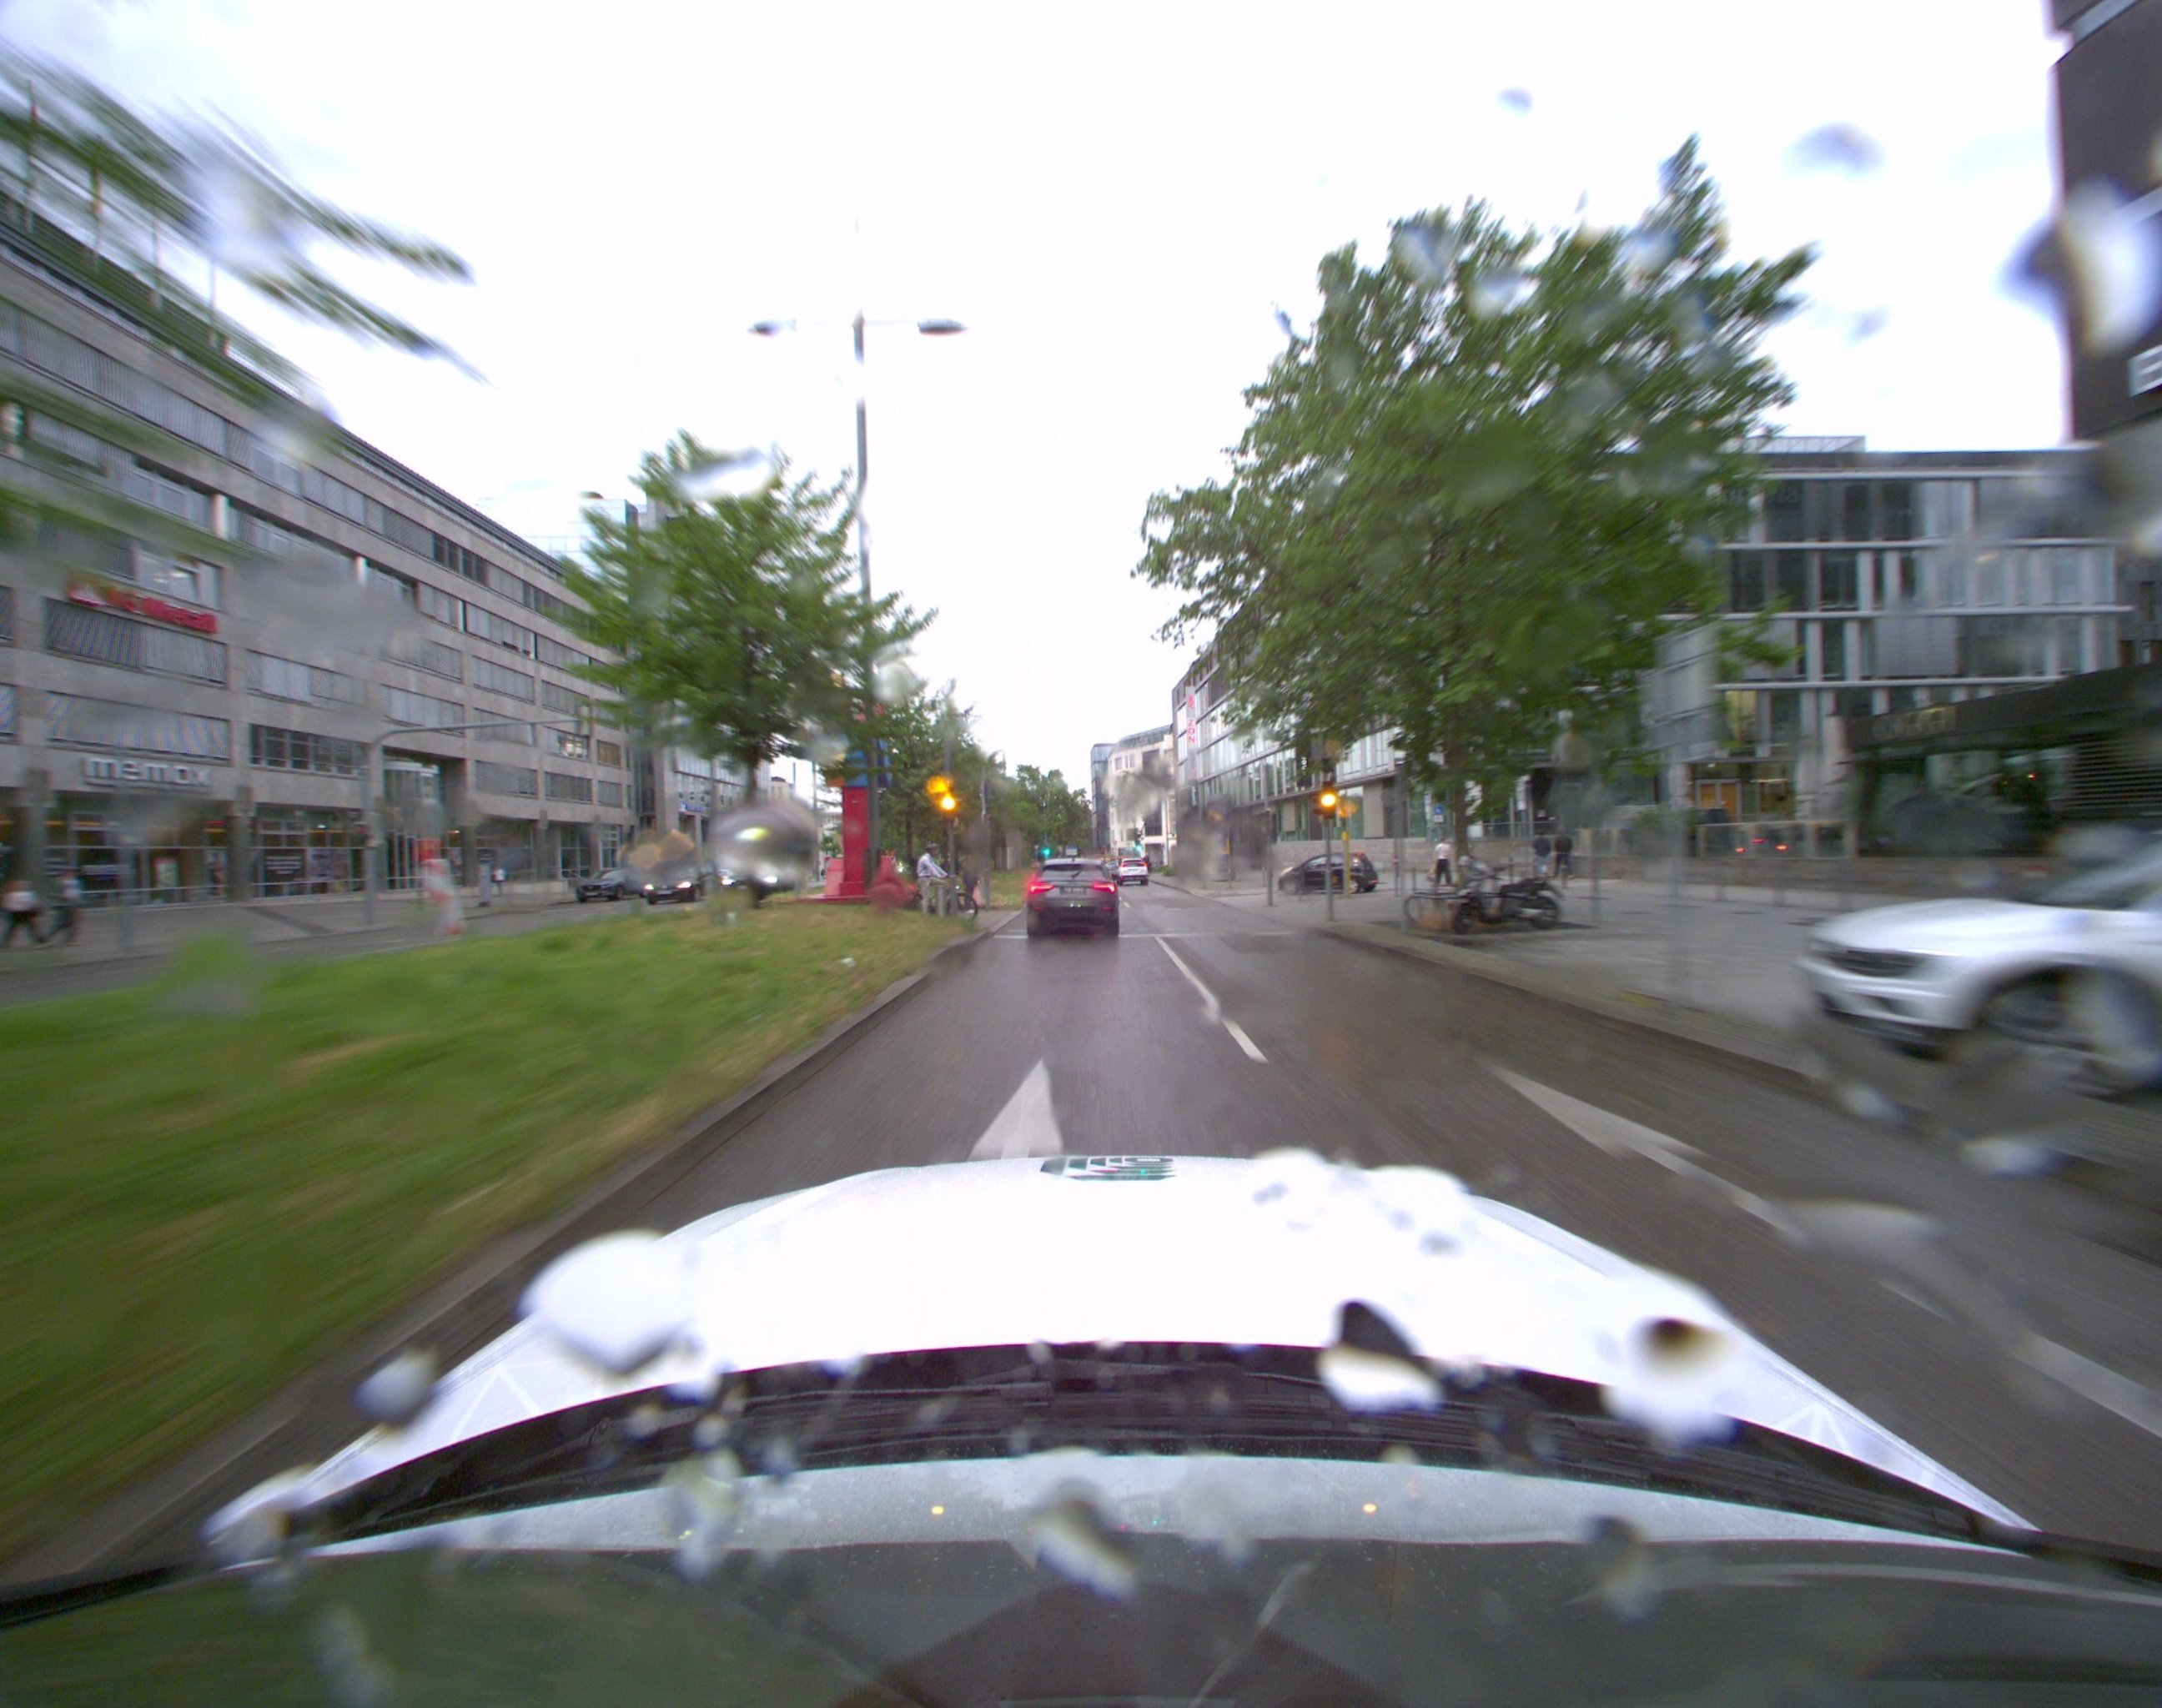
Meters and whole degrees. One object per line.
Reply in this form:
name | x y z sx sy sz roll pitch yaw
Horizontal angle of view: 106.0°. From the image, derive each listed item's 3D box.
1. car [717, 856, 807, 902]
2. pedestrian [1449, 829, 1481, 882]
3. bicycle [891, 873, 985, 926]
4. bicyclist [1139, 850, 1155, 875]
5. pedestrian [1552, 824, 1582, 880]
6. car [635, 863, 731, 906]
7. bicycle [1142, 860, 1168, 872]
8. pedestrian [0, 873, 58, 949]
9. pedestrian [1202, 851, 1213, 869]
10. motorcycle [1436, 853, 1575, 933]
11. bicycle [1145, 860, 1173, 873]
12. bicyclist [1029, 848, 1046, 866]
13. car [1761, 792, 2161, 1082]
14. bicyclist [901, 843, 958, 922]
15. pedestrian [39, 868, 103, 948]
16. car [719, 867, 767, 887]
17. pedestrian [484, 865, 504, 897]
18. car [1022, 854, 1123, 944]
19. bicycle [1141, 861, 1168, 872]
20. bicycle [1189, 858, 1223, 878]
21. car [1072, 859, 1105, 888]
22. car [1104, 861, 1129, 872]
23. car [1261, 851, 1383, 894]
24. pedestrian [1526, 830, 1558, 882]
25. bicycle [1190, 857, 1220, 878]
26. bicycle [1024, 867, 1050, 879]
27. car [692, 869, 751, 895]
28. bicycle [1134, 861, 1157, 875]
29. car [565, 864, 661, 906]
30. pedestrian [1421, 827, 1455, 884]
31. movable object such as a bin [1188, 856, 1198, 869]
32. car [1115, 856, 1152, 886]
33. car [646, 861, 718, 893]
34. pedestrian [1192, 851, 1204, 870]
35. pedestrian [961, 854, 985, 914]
car | -11.939 0.877 30.790 1.787 1.467 4.717 -3 0 -5
pedestrian | 13.947 0.065 29.604 0.796 1.868 0.900 -1 0 8
bicycle | -3.261 1.038 18.696 1.964 1.139 0.777 1 0 2
bicyclist | 5.885 0.757 72.666 1.091 2.083 0.753 -2 -2 -44
pedestrian | 16.232 -0.058 27.231 0.674 1.823 0.654 -2 0 15
car | -15.153 1.121 31.245 1.785 1.414 3.996 -3 0 -3
bicycle | 7.612 1.225 84.093 2.530 1.087 0.677 -3 -1 -3
pedestrian | -23.412 1.257 18.065 0.606 1.629 0.617 -1 0 -11
pedestrian | 12.799 0.598 82.236 0.716 1.690 1.098 -5 -1 -4
motorcycle | 7.531 0.684 14.538 2.071 1.357 0.679 -1 0 8
bicycle | 7.553 1.215 78.919 2.530 1.057 0.677 -3 -1 -3
bicyclist | -3.847 0.244 72.437 1.122 1.582 1.020 0 -1 21
car | 7.436 0.440 4.986 4.742 1.650 1.928 -1 0 31
bicyclist | -3.464 0.653 18.702 1.072 1.749 0.813 1 -2 2
pedestrian | -23.296 1.219 18.790 0.525 1.788 0.722 -1 0 2
car | -24.087 1.615 58.252 1.889 1.325 4.468 -2 -1 -5
pedestrian | -33.517 1.521 46.494 0.717 1.788 0.529 -1 0 -2
car | -0.090 0.840 17.346 1.841 1.616 4.254 -1 0 2
bicycle | 7.321 1.225 81.207 2.530 1.087 0.677 0 -1 -3
bicycle | 7.790 0.867 50.780 1.974 1.104 0.809 -3 -1 4
car | 0.476 1.164 50.127 1.938 1.647 4.245 -2 -1 1
car | 6.052 2.118 139.299 3.976 1.647 1.999 2 -1 -2
car | 8.581 0.677 29.143 3.785 1.417 1.646 -2 -1 40
pedestrian | 15.709 0.065 27.765 0.772 1.725 0.647 -2 0 15
bicycle | 7.983 0.876 52.631 1.827 1.197 0.661 -3 -1 4
bicycle | -3.880 1.691 72.416 2.043 1.114 1.017 0 -1 21
car | -22.848 1.773 51.964 1.771 1.401 4.681 -3 0 -2
bicycle | 5.774 1.237 72.544 2.145 1.145 0.753 -2 -2 -44
car | -22.195 1.432 38.859 1.857 1.725 4.789 -3 0 -2
pedestrian | 13.015 0.049 29.672 0.848 2.039 0.752 -1 0 -3
movable object such as a bin | 11.494 0.853 83.520 0.729 1.264 1.444 -5 0 -1
car | 3.215 1.034 50.683 2.171 1.700 4.002 -2 -1 2
car | -22.647 1.264 46.493 1.771 1.622 4.909 -1 0 -2
pedestrian | 11.816 0.676 82.120 0.898 1.792 1.045 -5 -1 -4
pedestrian | -3.080 0.840 23.228 0.525 1.685 0.722 -1 0 2
